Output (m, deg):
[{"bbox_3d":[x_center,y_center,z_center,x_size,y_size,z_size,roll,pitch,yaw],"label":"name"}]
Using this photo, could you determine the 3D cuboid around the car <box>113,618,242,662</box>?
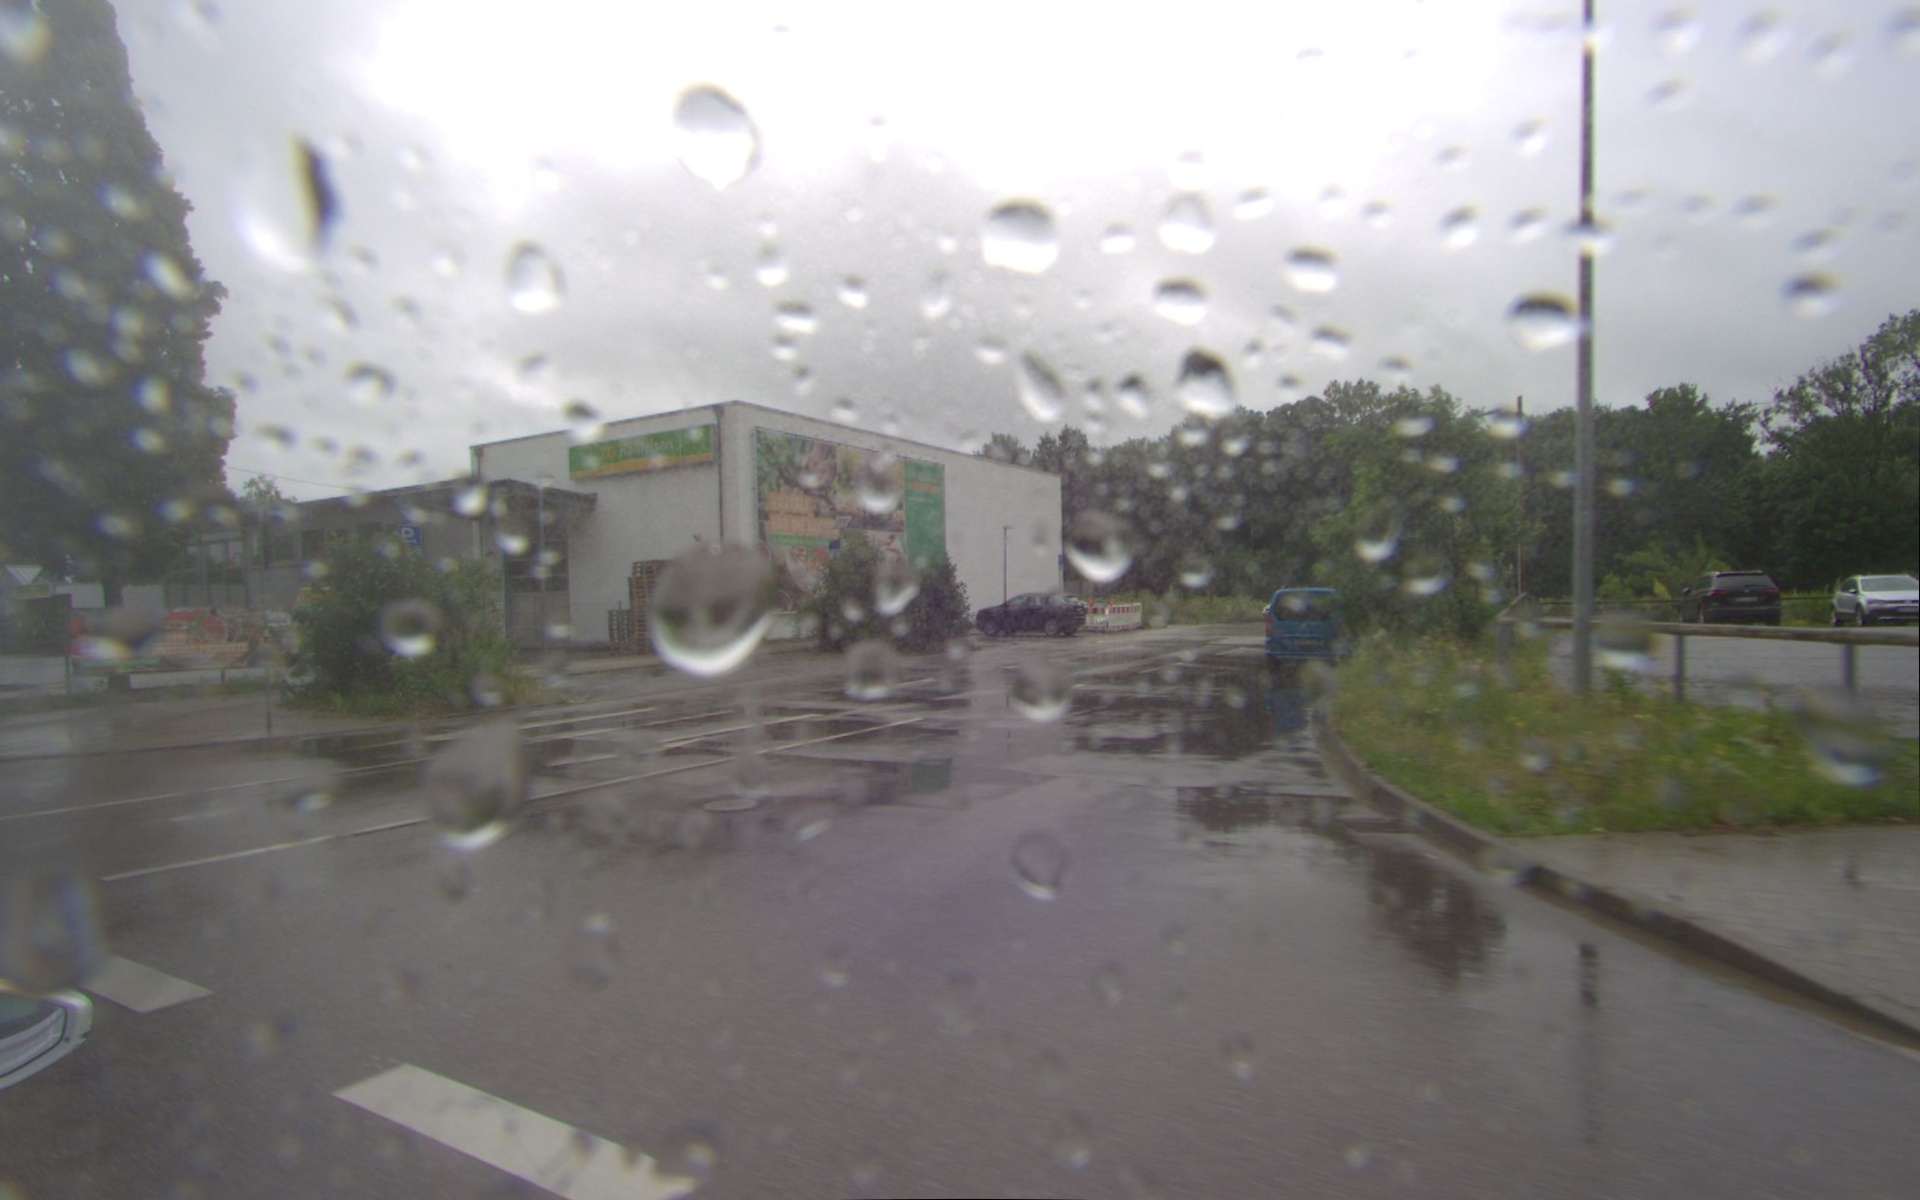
[{"bbox_3d":[-36.615,1.834,46.970,2.034,1.857,4.352,-1,0,32],"label":"car"}]

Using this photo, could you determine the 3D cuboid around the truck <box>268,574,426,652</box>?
[{"bbox_3d":[-23.407,0.528,38.080,7.317,2.695,2.294,-2,0,35],"label":"truck"}]

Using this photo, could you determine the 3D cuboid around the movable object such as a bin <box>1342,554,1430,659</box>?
[{"bbox_3d":[13.319,0.231,31.178,1.971,3.031,3.981,-2,-1,31],"label":"movable object such as a bin"}]

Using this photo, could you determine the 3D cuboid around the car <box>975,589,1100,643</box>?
[{"bbox_3d":[2.933,0.622,38.114,4.316,1.847,1.782,-3,0,28],"label":"car"}]

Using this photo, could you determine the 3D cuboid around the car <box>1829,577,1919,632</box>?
[{"bbox_3d":[25.600,0.124,27.561,1.863,1.415,3.980,-1,0,31],"label":"car"}]

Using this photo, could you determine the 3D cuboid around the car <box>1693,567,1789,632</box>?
[{"bbox_3d":[22.547,-0.003,29.032,1.865,1.743,3.977,-1,0,34],"label":"car"}]

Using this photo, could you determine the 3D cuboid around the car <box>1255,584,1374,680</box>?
[{"bbox_3d":[8.053,0.686,22.532,1.805,1.947,3.981,-2,-1,30],"label":"car"}]

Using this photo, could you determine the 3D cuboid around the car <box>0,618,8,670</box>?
[{"bbox_3d":[-29.257,1.254,27.134,1.862,1.481,4.698,-2,-2,30],"label":"car"}]
